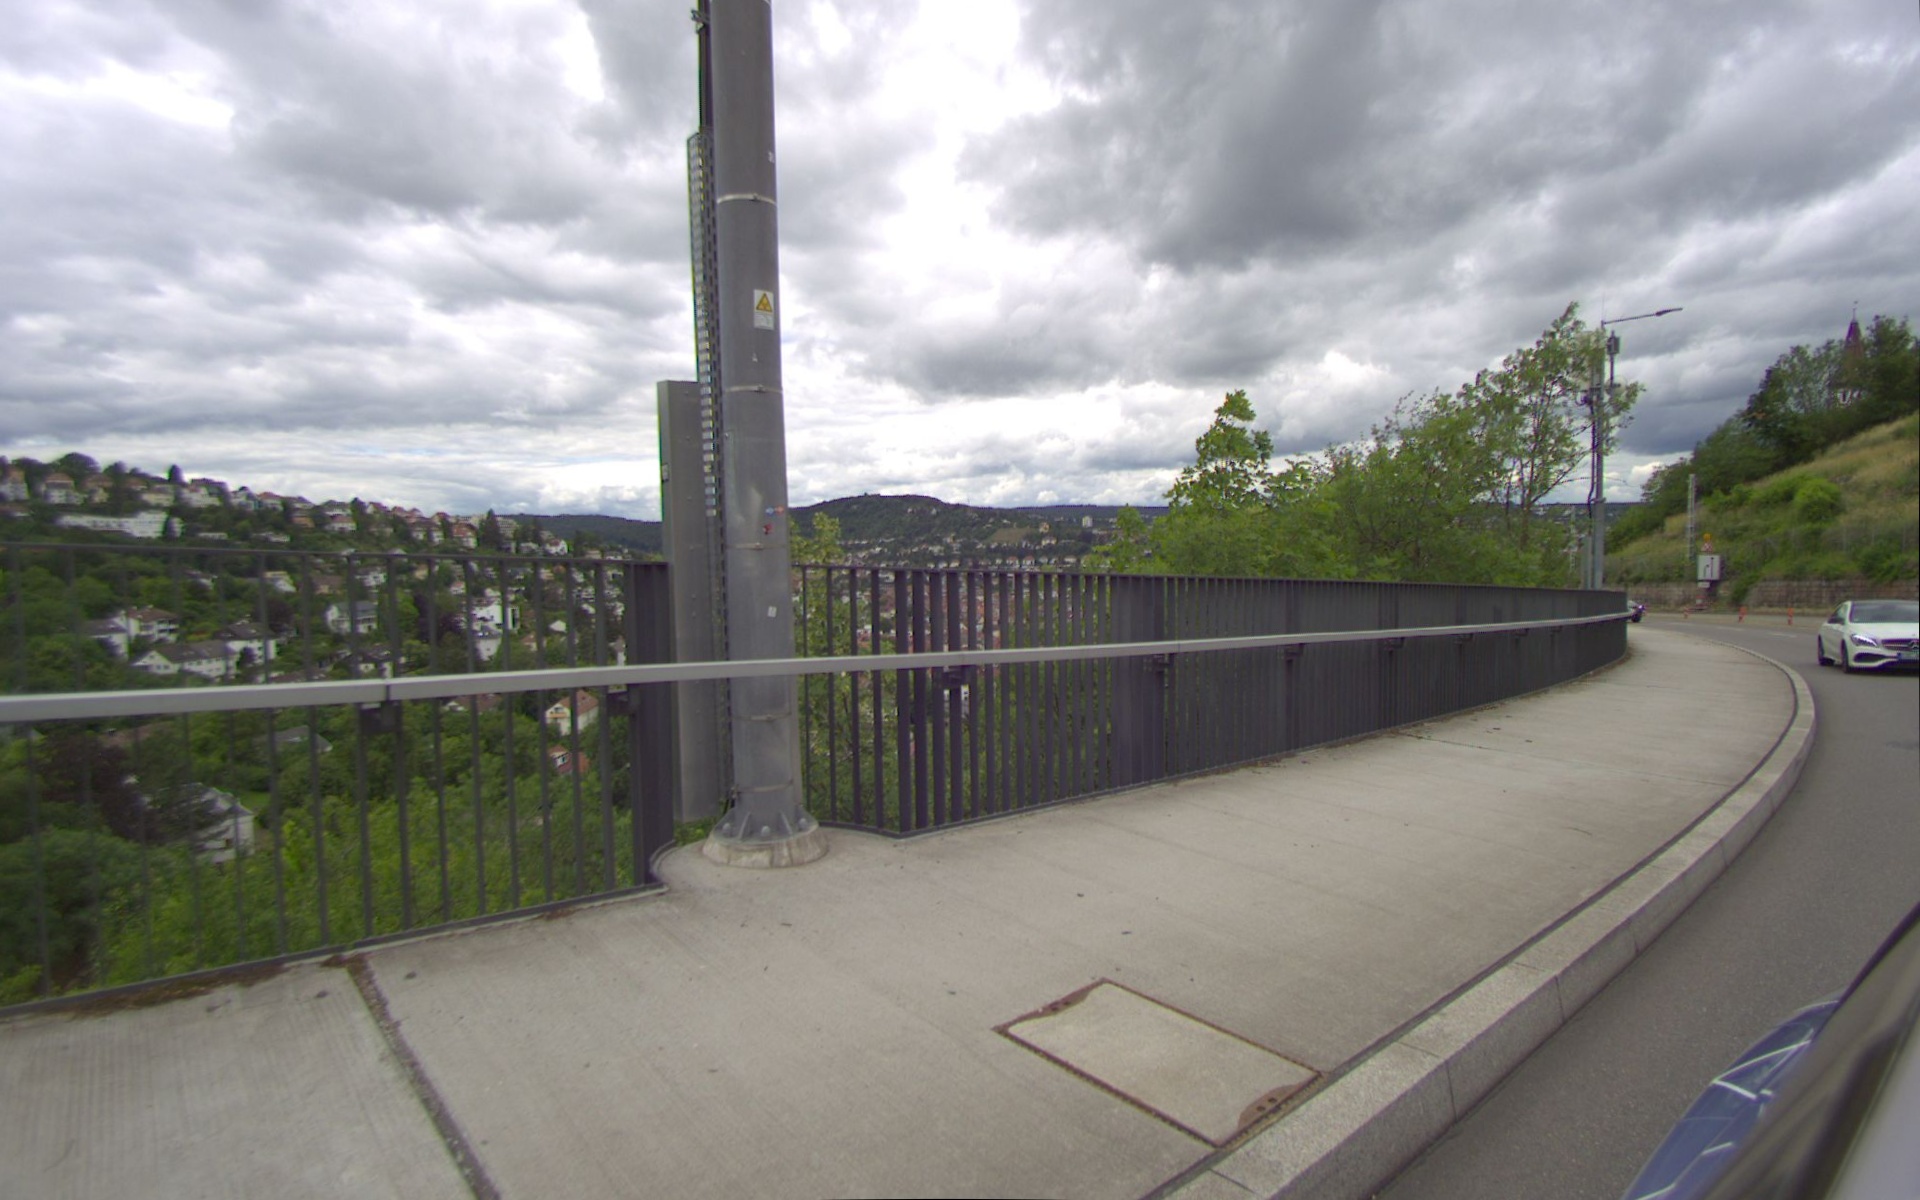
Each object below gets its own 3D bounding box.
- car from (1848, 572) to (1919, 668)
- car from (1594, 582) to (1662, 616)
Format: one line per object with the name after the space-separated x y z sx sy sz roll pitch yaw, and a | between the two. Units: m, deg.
18.853 0.361 19.939 1.992 1.740 3.940 -1 0 41 | car
33.991 -0.076 51.639 1.976 1.692 4.505 0 1 22 | car
